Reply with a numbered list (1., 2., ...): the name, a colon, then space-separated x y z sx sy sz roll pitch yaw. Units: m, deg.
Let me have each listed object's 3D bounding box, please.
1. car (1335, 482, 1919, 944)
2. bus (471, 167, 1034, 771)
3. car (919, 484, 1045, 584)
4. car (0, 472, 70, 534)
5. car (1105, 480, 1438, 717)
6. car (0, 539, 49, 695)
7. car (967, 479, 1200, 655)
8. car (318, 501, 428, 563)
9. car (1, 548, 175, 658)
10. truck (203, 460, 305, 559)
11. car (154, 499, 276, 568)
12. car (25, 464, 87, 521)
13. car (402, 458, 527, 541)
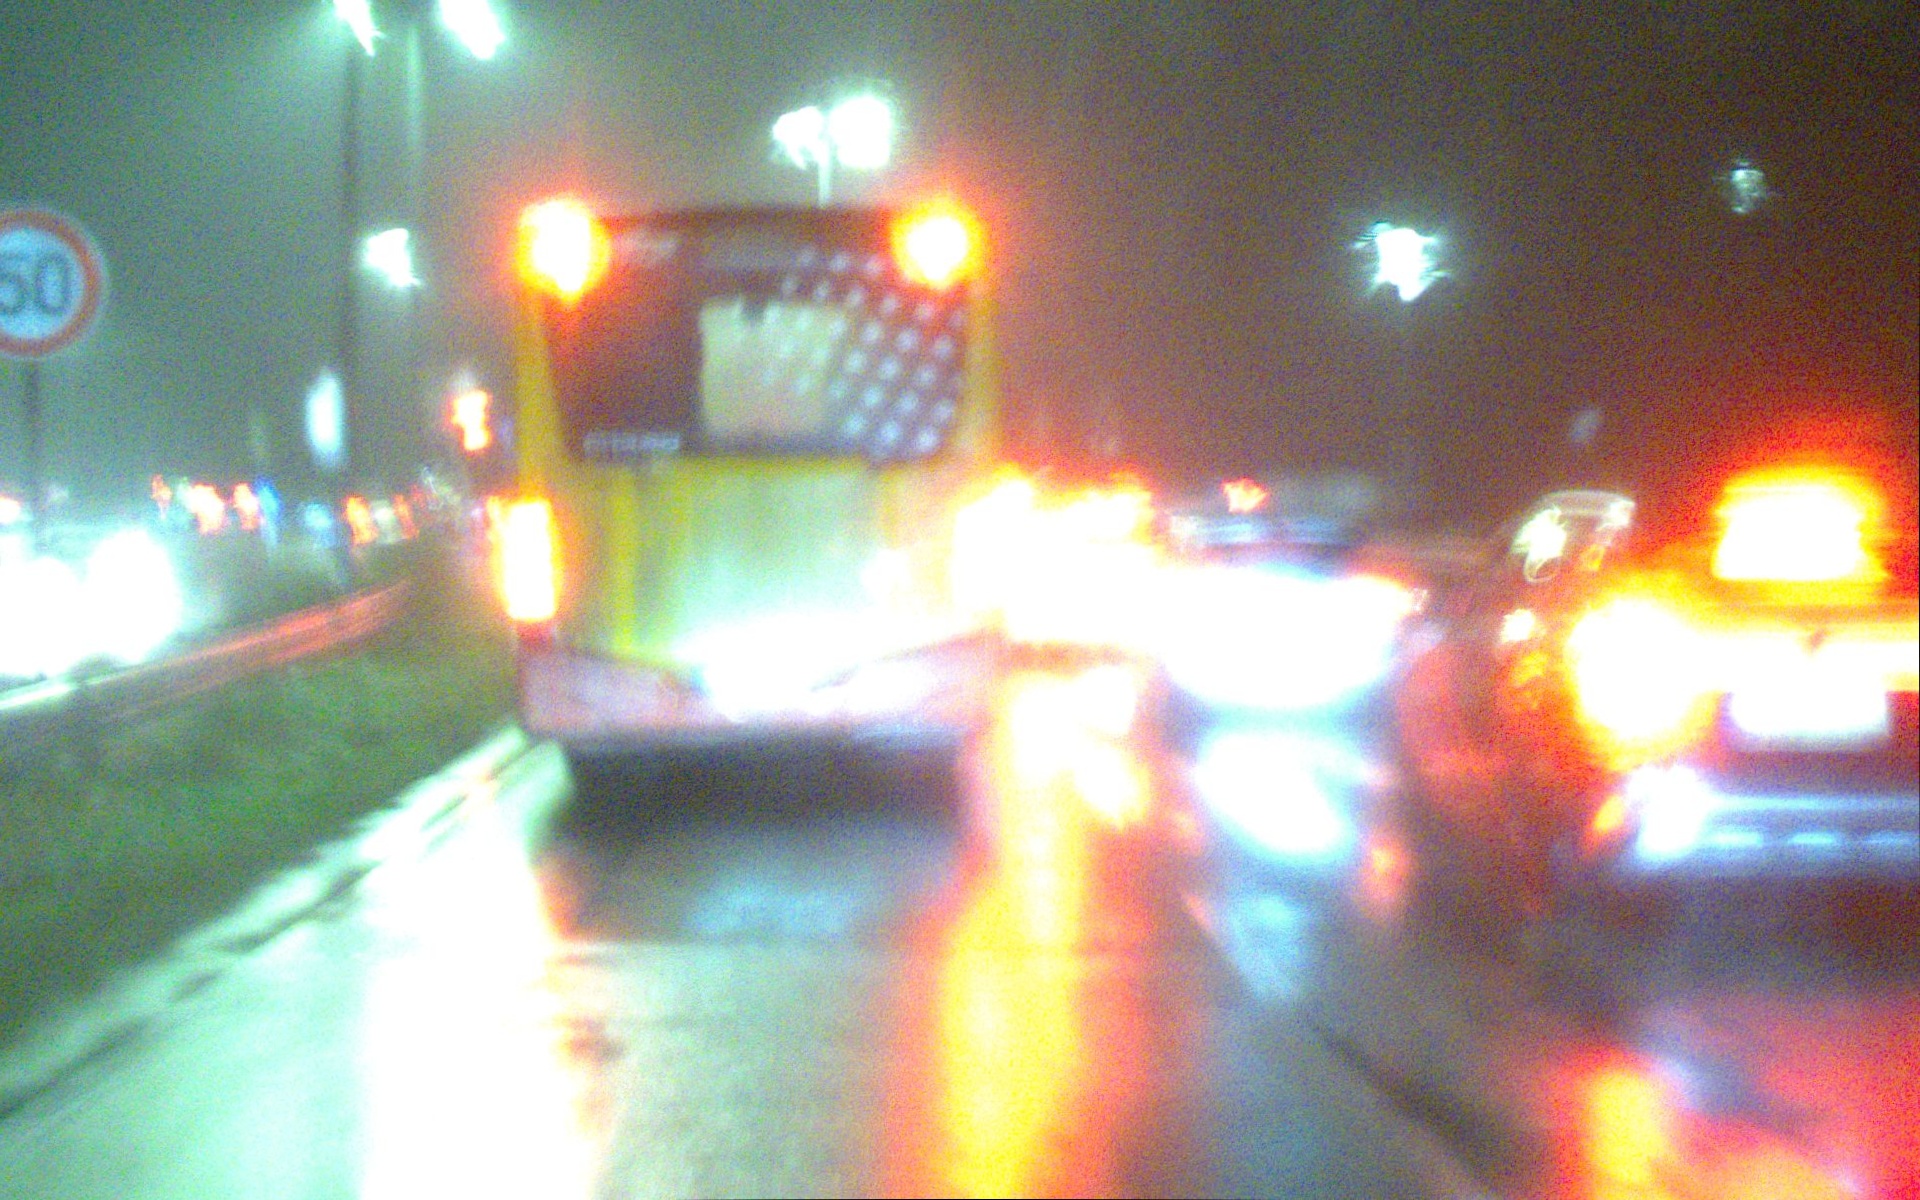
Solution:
1. car: 2.703 0.340 13.563 1.739 1.559 3.777 0 1 -5
2. bus: -1.274 -0.757 21.585 2.815 3.013 8.689 0 1 -3
3. car: 0.325 -1.067 55.243 1.779 1.538 3.875 0 1 -3
4. car: -31.947 -3.270 116.108 1.994 2.007 3.998 0 1 -42
5. car: 2.219 -0.060 25.453 1.819 1.585 3.777 -1 2 -4
6. car: -10.841 0.238 35.848 1.808 1.563 4.001 -4 2 -5
7. car: 1.140 -0.350 33.477 1.819 1.585 3.777 -1 2 -4
8. car: -15.980 -1.845 93.483 1.751 1.625 3.623 0 1 -30
9. car: -13.158 0.009 52.110 1.816 1.389 4.462 -4 2 -6
10. truck: -19.093 -2.480 92.814 1.855 2.384 4.781 -3 5 -21
11. car: -22.386 -1.988 103.161 2.211 2.007 4.000 -2 2 -34
12. car: -32.752 -3.879 124.652 2.120 2.007 4.001 1 1 -14
13. car: -12.388 -2.492 85.801 1.993 2.007 4.001 0 1 -25
